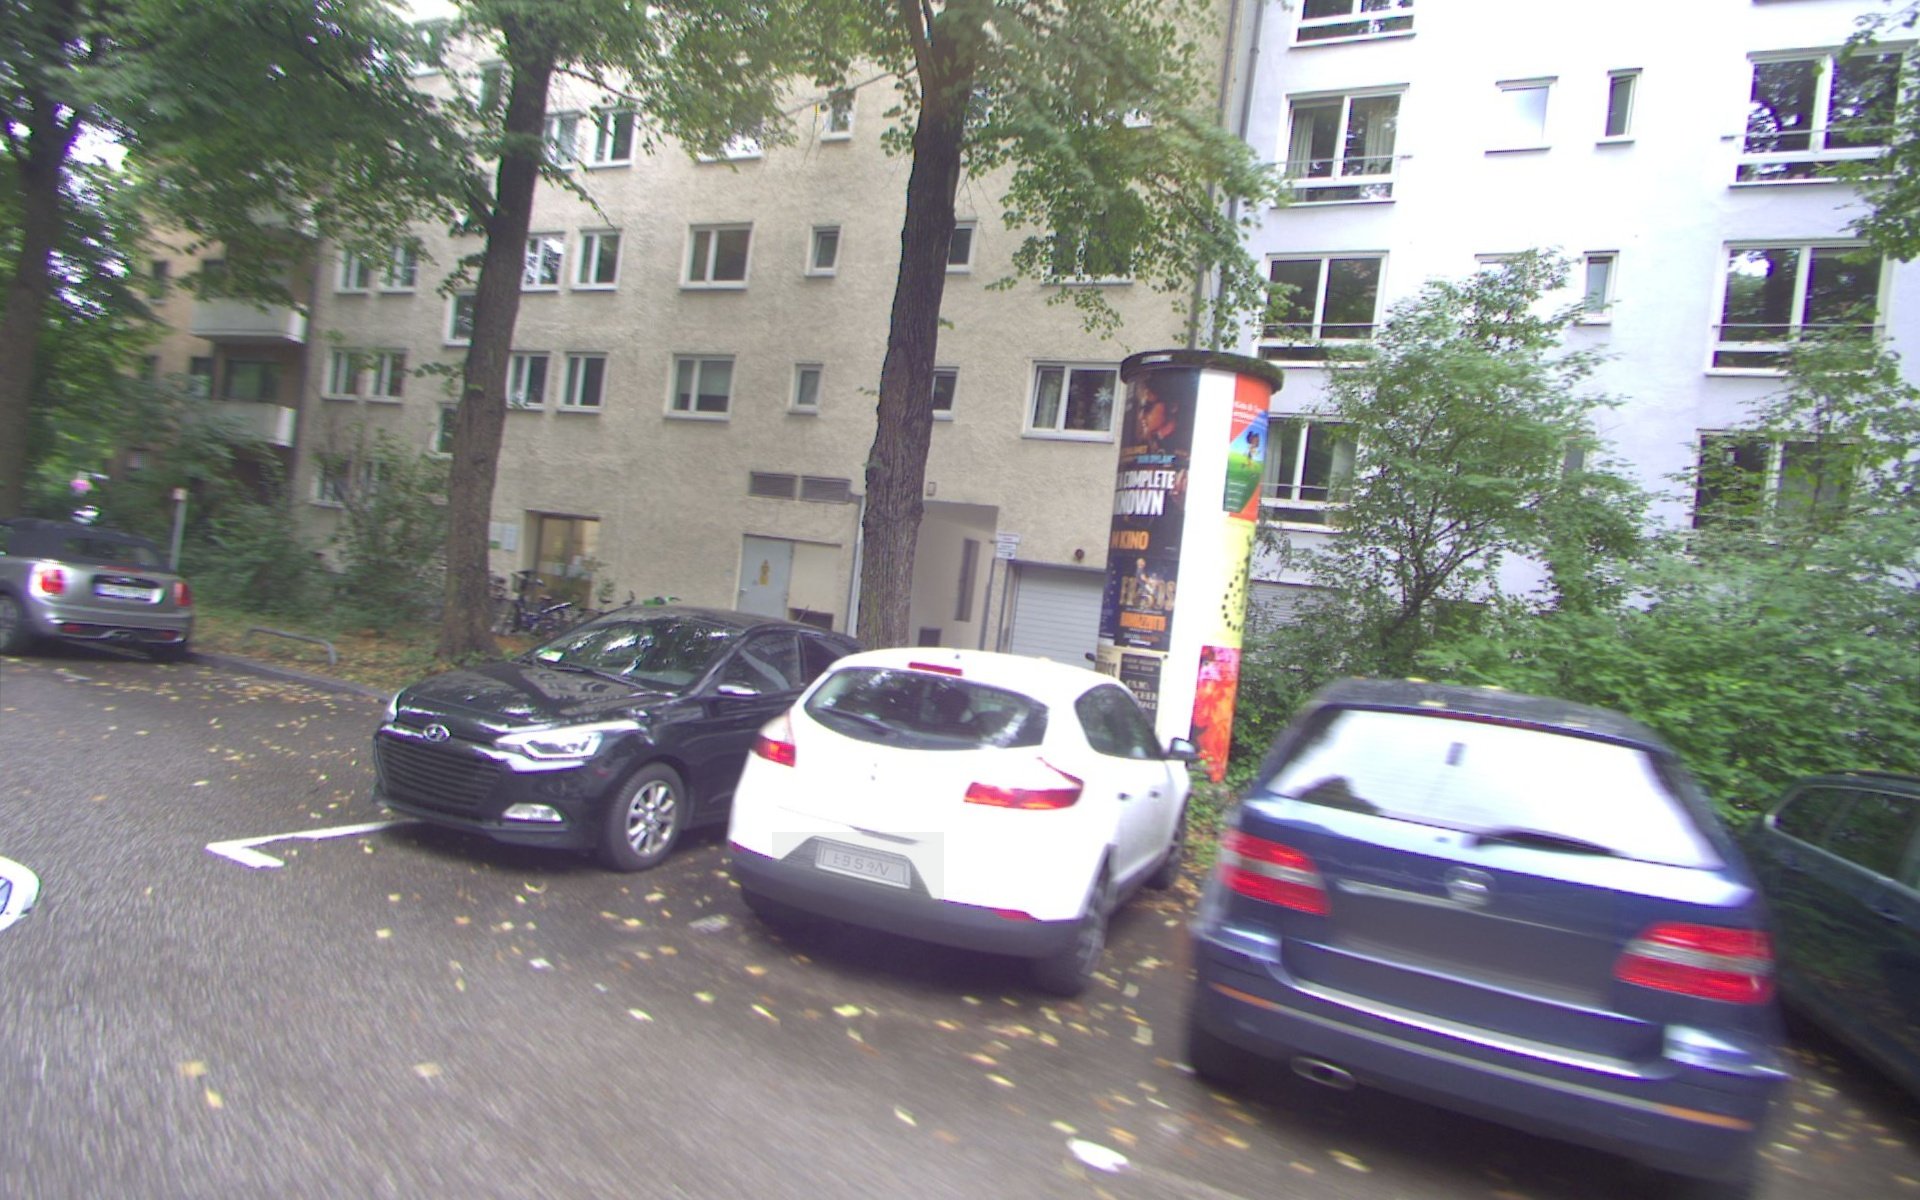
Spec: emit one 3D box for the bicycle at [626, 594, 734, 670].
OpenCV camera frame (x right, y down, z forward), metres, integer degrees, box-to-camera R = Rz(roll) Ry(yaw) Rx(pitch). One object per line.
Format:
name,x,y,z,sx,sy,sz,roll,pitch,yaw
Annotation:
bicycle,-5.006,0.571,17.981,1.738,1.137,0.446,7,0,14

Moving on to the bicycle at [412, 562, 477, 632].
bicycle,-9.225,-0.045,18.049,0.438,1.137,1.768,7,-1,-11

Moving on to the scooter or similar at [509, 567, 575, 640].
scooter or similar,-8.046,0.071,19.369,1.116,1.268,0.385,7,0,25

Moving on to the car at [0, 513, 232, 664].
car,-10.932,-0.239,11.780,4.349,1.430,1.903,6,0,24

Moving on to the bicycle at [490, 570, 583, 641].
bicycle,-7.506,0.128,17.935,0.437,1.137,1.950,7,-1,9

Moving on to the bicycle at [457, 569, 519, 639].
bicycle,-8.302,0.067,17.764,0.438,1.137,1.768,7,-1,-11

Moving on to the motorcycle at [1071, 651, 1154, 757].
motorcycle,2.038,1.323,13.226,0.678,1.212,1.808,7,-1,18

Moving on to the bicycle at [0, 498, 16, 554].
bicycle,-19.647,-1.544,19.515,0.537,1.096,1.837,7,-1,17

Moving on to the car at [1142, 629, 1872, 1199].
car,2.289,1.113,4.758,1.725,1.574,3.983,7,-1,25

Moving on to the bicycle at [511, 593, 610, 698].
bicycle,-5.085,0.544,12.935,0.754,1.178,1.866,7,-1,-12

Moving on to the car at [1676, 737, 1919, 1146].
car,4.835,1.540,4.008,1.924,1.394,4.735,7,-1,21

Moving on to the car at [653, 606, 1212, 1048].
car,0.260,0.978,5.932,1.793,1.465,3.949,7,-1,21

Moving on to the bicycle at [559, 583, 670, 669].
bicycle,-5.076,0.408,14.915,0.530,1.137,1.879,7,-1,13

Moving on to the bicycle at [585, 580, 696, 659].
bicycle,-5.529,0.341,17.407,1.738,1.137,0.446,7,0,14

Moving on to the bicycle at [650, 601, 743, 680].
bicycle,-4.201,0.668,16.212,0.530,1.137,1.879,7,-1,13

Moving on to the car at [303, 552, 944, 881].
car,-1.857,0.683,6.939,1.704,1.411,4.093,7,-1,26
